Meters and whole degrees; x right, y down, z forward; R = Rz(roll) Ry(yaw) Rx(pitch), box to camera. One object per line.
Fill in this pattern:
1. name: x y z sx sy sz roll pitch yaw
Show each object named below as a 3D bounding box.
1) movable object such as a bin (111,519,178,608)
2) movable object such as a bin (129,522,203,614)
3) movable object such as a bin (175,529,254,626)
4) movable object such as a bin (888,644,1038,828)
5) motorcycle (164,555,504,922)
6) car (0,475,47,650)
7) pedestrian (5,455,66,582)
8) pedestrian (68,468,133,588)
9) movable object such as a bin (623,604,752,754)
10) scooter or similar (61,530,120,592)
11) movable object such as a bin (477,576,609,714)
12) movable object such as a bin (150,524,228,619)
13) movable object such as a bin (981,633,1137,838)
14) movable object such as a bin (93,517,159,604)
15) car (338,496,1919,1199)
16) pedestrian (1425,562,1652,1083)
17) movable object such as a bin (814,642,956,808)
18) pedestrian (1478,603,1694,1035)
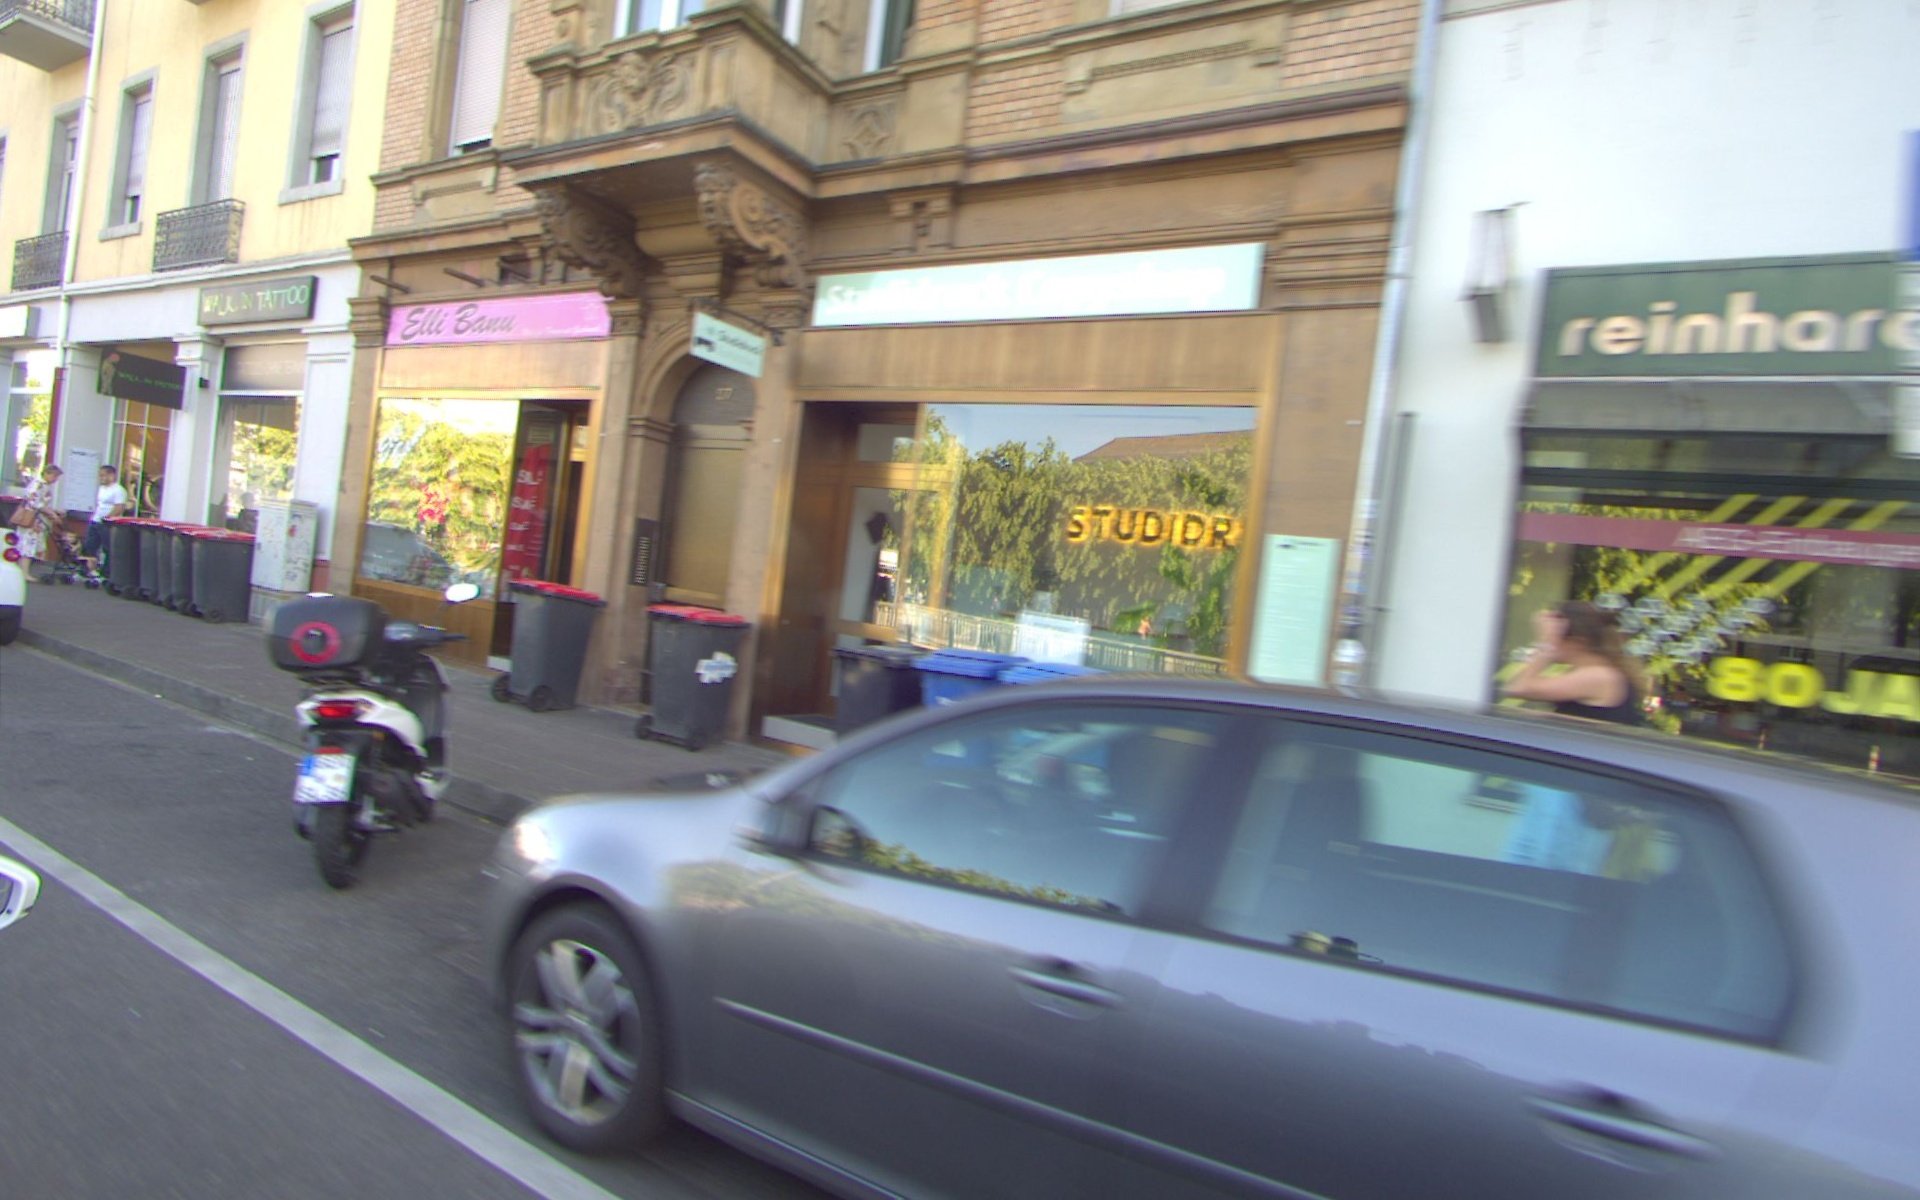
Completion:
1. movable object such as a bin: -10.470 -0.467 12.921 0.460 1.066 0.479 8 2 30
2. movable object such as a bin: -9.969 -0.403 12.630 0.621 1.066 0.479 8 2 30
3. movable object such as a bin: -8.866 -0.266 11.964 0.621 1.066 0.479 8 2 30
4. movable object such as a bin: 0.027 0.856 6.605 0.616 1.057 0.680 8 2 31
5. motorcycle: -2.817 0.524 4.818 0.646 1.344 2.038 7 0 -14
6. car: -10.142 -0.552 9.362 2.808 1.564 1.616 8 -1 32
7. pedestrian: -12.678 -1.115 13.803 0.469 1.655 0.507 7 0 -43
8. pedestrian: -12.501 -1.042 14.634 0.505 1.655 0.470 8 0 36
9. movable object such as a bin: -2.153 0.607 7.982 0.621 1.066 0.645 8 2 30
10. scooter or similar: -12.066 -0.536 13.966 0.576 0.790 0.461 4 3 -43
11. movable object such as a bin: -3.685 0.389 8.896 0.806 1.090 0.644 8 2 32
12. movable object such as a bin: -9.426 -0.344 12.302 0.621 1.066 0.495 8 2 30
13. movable object such as a bin: 0.621 0.801 6.219 0.616 1.111 0.680 8 2 31
14. movable object such as a bin: -10.902 -0.515 13.152 0.491 1.066 0.456 8 2 30
15. car: 0.428 0.793 2.824 4.157 1.564 1.843 8 -1 30
16. pedestrian: 2.241 0.795 3.894 0.510 1.788 0.620 8 1 34
17. movable object such as a bin: -0.512 0.838 7.003 0.583 1.013 0.724 8 2 31
18. pedestrian: 2.812 0.907 4.535 0.580 1.697 0.801 8 2 34
